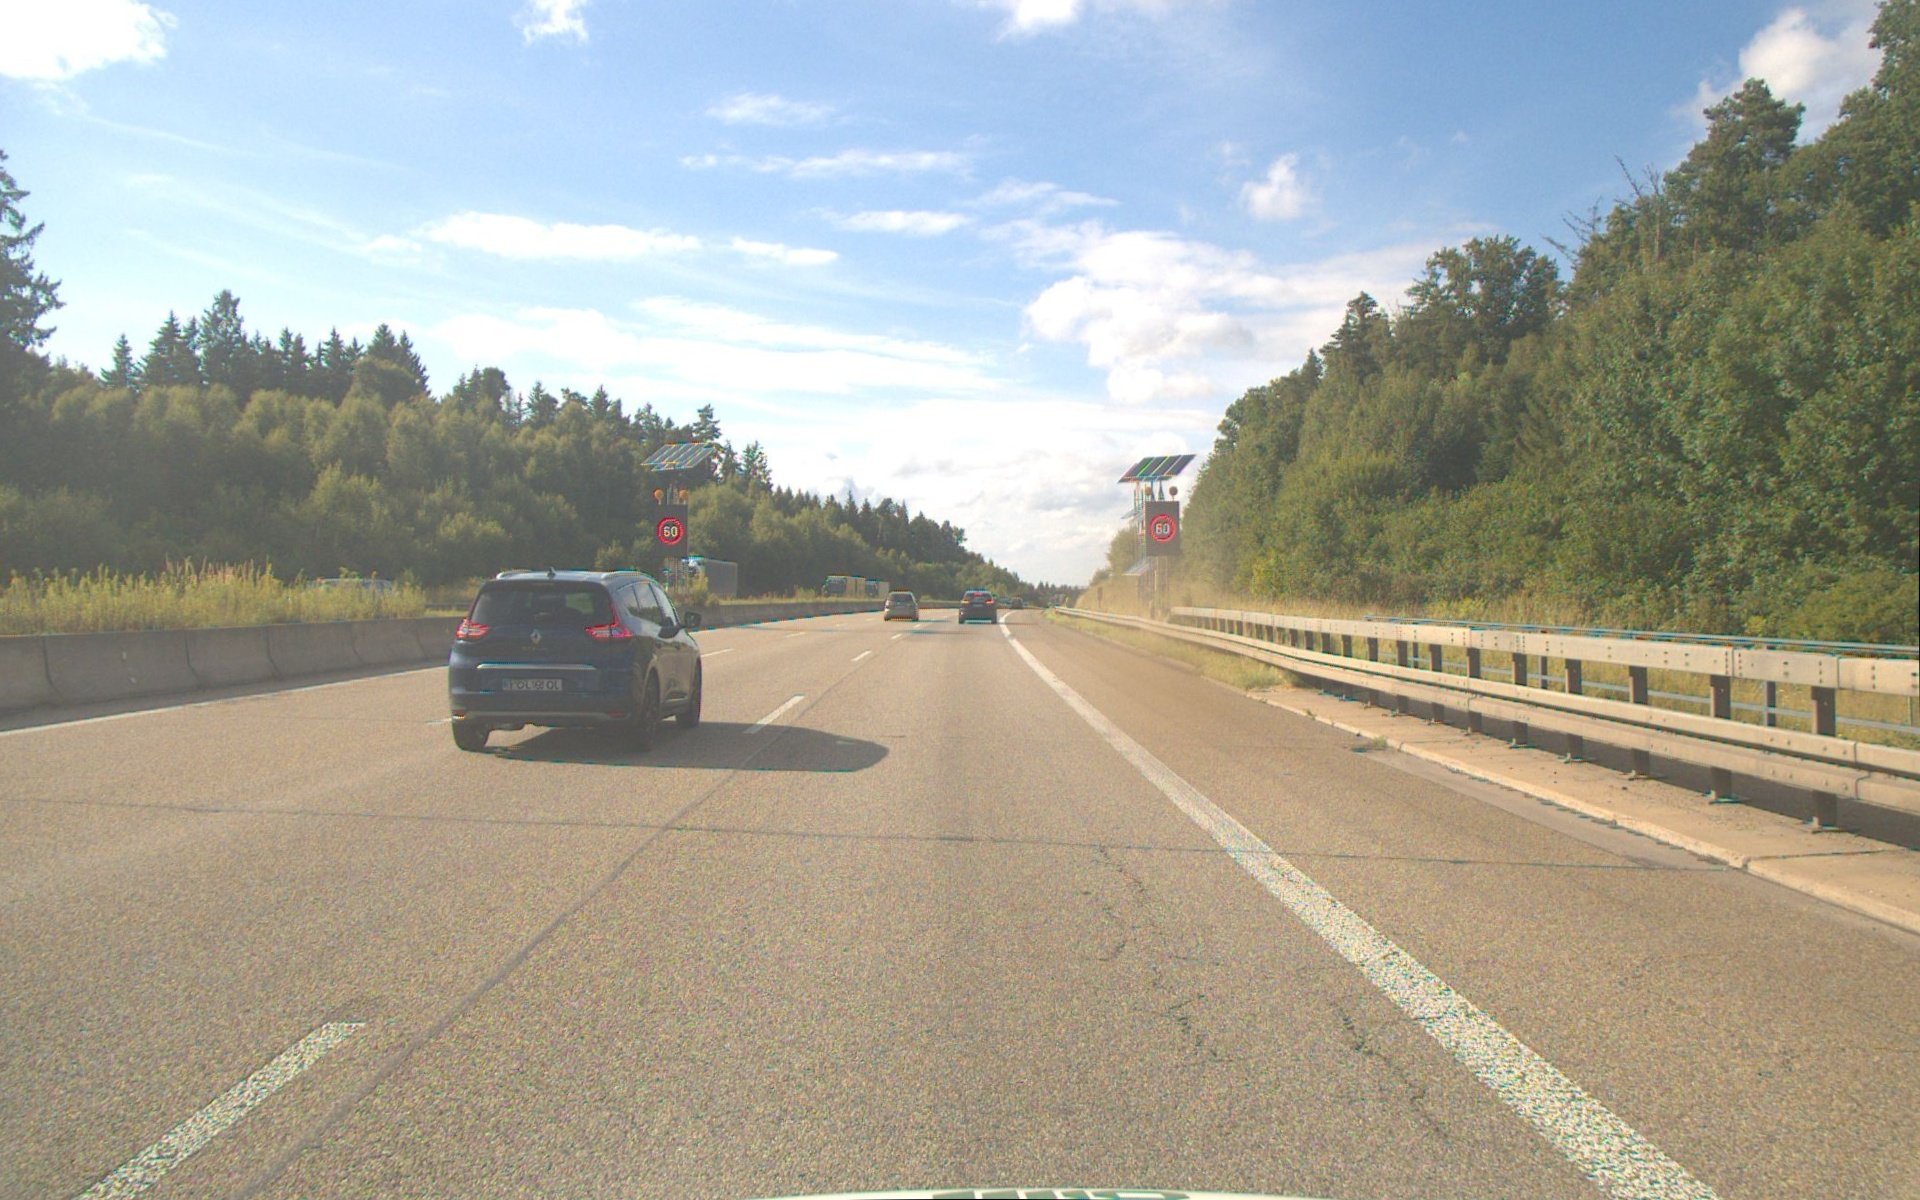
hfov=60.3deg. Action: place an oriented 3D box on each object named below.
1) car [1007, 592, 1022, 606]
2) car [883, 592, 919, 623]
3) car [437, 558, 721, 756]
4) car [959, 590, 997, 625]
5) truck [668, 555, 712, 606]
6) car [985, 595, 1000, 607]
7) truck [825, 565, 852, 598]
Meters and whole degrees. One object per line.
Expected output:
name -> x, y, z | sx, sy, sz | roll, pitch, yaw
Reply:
car -> 7.090, -0.191, 214.922 | 1.775, 1.735, 4.000 | 0, 1, 0
car -> -3.152, 0.380, 88.986 | 1.836, 1.523, 3.879 | 1, 1, -1
car -> -3.721, 0.496, 17.007 | 1.953, 1.736, 4.528 | 1, 0, -2
car -> 0.914, 0.355, 83.699 | 1.835, 1.704, 3.890 | 1, 1, 1
truck -> -20.670, -1.503, 126.787 | 2.232, 3.794, 5.533 | 0, 0, 2
car -> 4.431, 0.175, 225.078 | 1.834, 1.523, 3.882 | 1, 1, 5
truck -> -15.652, -2.418, 212.896 | 2.594, 4.157, 6.419 | 0, 0, 3
